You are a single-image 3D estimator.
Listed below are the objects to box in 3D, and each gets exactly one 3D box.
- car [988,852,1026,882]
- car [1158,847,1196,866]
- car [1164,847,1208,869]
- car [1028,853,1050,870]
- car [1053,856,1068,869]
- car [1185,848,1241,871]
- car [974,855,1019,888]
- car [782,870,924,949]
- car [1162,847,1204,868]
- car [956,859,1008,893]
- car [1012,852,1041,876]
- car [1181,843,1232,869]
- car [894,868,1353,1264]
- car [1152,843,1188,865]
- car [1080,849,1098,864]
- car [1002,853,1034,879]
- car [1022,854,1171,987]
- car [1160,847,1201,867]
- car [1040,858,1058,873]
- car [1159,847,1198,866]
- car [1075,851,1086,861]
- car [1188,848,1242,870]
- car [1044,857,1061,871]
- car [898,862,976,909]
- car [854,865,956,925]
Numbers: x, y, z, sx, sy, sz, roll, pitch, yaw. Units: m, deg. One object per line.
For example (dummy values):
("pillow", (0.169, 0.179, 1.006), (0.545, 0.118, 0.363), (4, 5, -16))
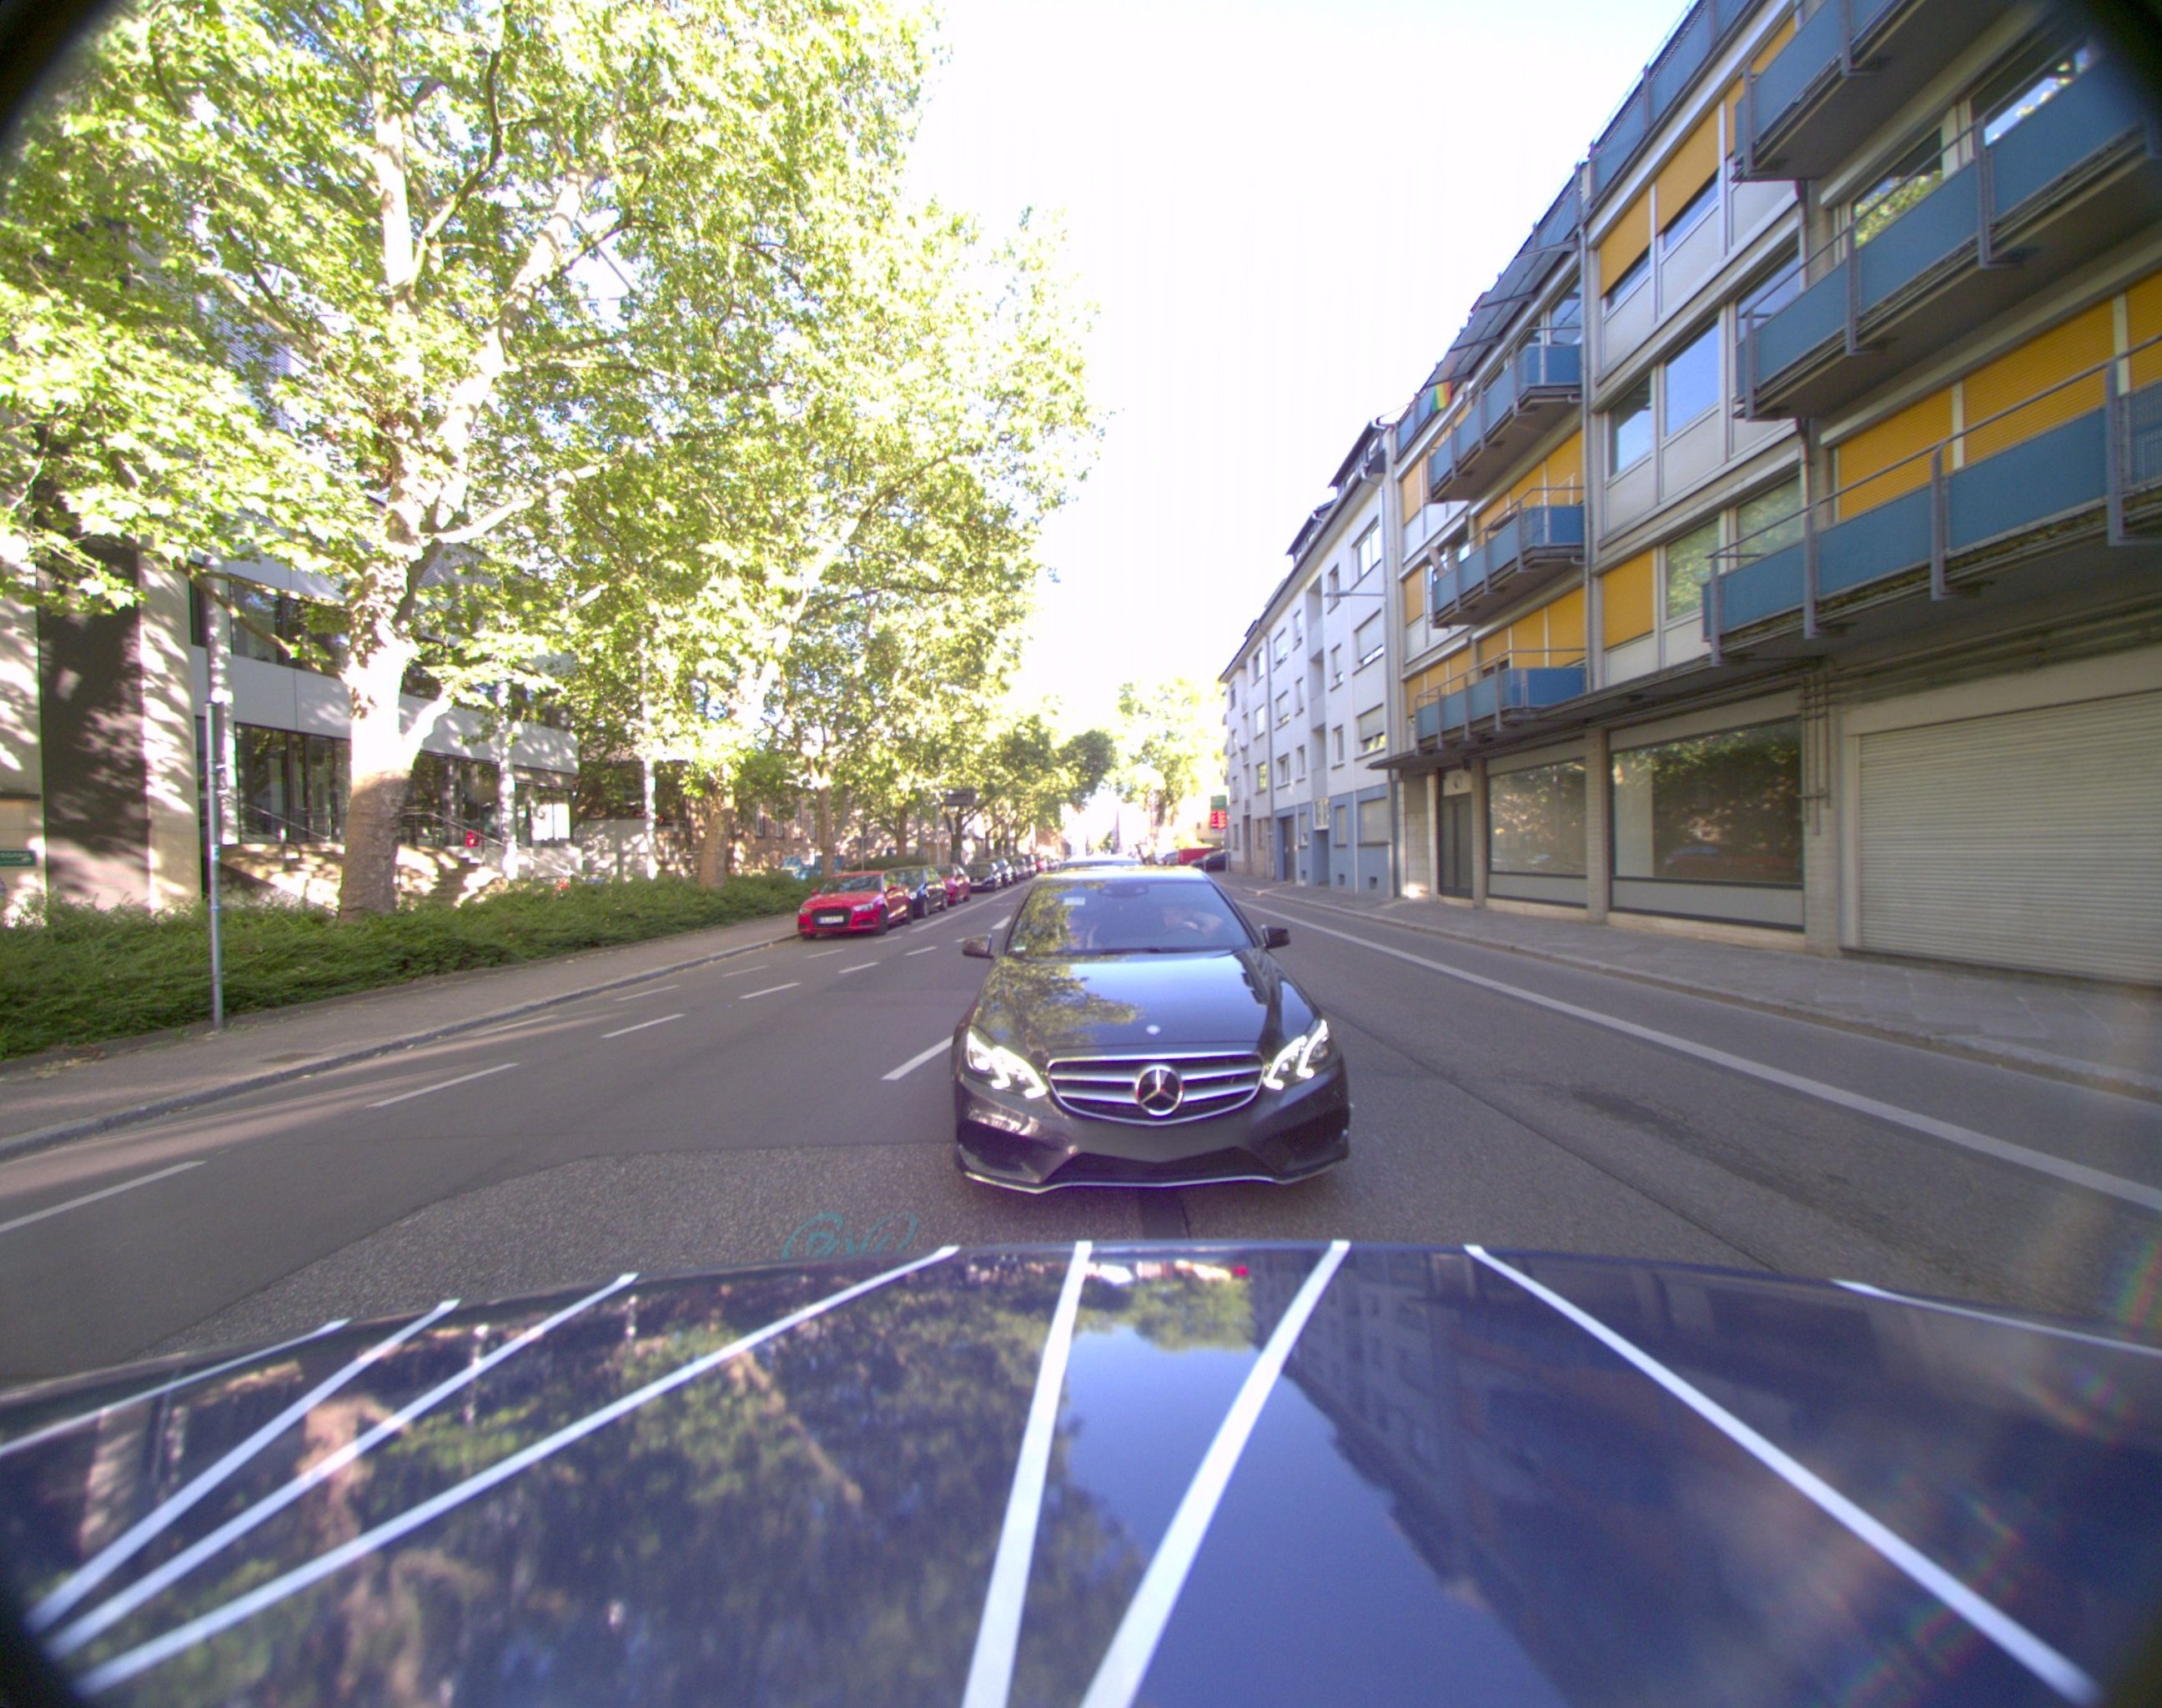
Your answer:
("car", (-4.629, 0.785, 48.135), (1.866, 1.749, 4.481), (-2, 0, 1))
("car", (10.740, 0.238, 84.981), (3.996, 1.936, 2.000), (-2, 1, 2))
("car", (10.252, 0.374, 74.506), (3.996, 1.936, 2.000), (-2, 1, 2))
("car", (-4.194, 0.705, 76.280), (1.866, 1.632, 4.481), (-2, 0, 1))
("car", (-2.817, 1.112, 105.192), (1.866, 1.632, 4.481), (-2, 0, 1))
("car", (10.178, 0.420, 58.872), (3.996, 1.543, 2.000), (-2, 1, 2))
("car", (-4.617, 0.908, 42.208), (1.866, 1.658, 4.481), (-2, 0, 1))
("car", (-5.101, 1.179, 17.733), (1.866, 1.442, 4.481), (-2, 0, 1))
("car", (10.336, 0.341, 77.148), (3.996, 1.936, 2.000), (-2, 1, 2))
("car", (-4.753, 1.025, 37.174), (1.866, 1.442, 4.481), (-2, 0, 1))
("car", (-4.241, 0.757, 59.757), (1.866, 1.749, 4.481), (-2, 0, 1))
("car", (10.552, 0.151, 64.025), (3.996, 1.936, 2.000), (-2, 1, 2))
("car", (0.207, 0.932, 5.409), (1.866, 1.492, 4.481), (-2, 0, 1))
("car", (10.494, 0.000, 89.508), (3.996, 2.505, 2.000), (-2, 1, 2))
("car", (0.902, 0.274, 85.392), (1.866, 1.632, 4.481), (-2, 0, 1))
("car", (-4.499, 0.819, 54.802), (1.866, 1.749, 4.481), (-2, 0, 1))
("car", (0.227, 0.857, 11.932), (1.866, 1.630, 4.303), (-2, 0, 1))
("car", (10.465, 0.304, 79.998), (3.996, 1.936, 2.000), (-2, 1, 2))
("car", (-3.760, 1.322, 89.986), (1.866, 1.632, 4.481), (-2, 0, 1))
("car", (10.595, 0.271, 82.487), (3.996, 1.936, 2.000), (-2, 1, 2))
("car", (-0.039, 0.367, 133.423), (1.866, 1.632, 4.481), (-2, 0, 1))
("car", (10.719, 0.373, 61.194), (3.996, 1.543, 2.000), (-2, 1, 2))
("car", (-3.649, 1.237, 96.785), (1.866, 1.632, 4.481), (-2, 0, 1))
("car", (-5.085, 1.066, 27.427), (1.866, 1.442, 4.481), (-2, 0, 1))
("car", (-5.041, 1.125, 22.383), (1.866, 1.442, 4.481), (-2, 0, 1))
